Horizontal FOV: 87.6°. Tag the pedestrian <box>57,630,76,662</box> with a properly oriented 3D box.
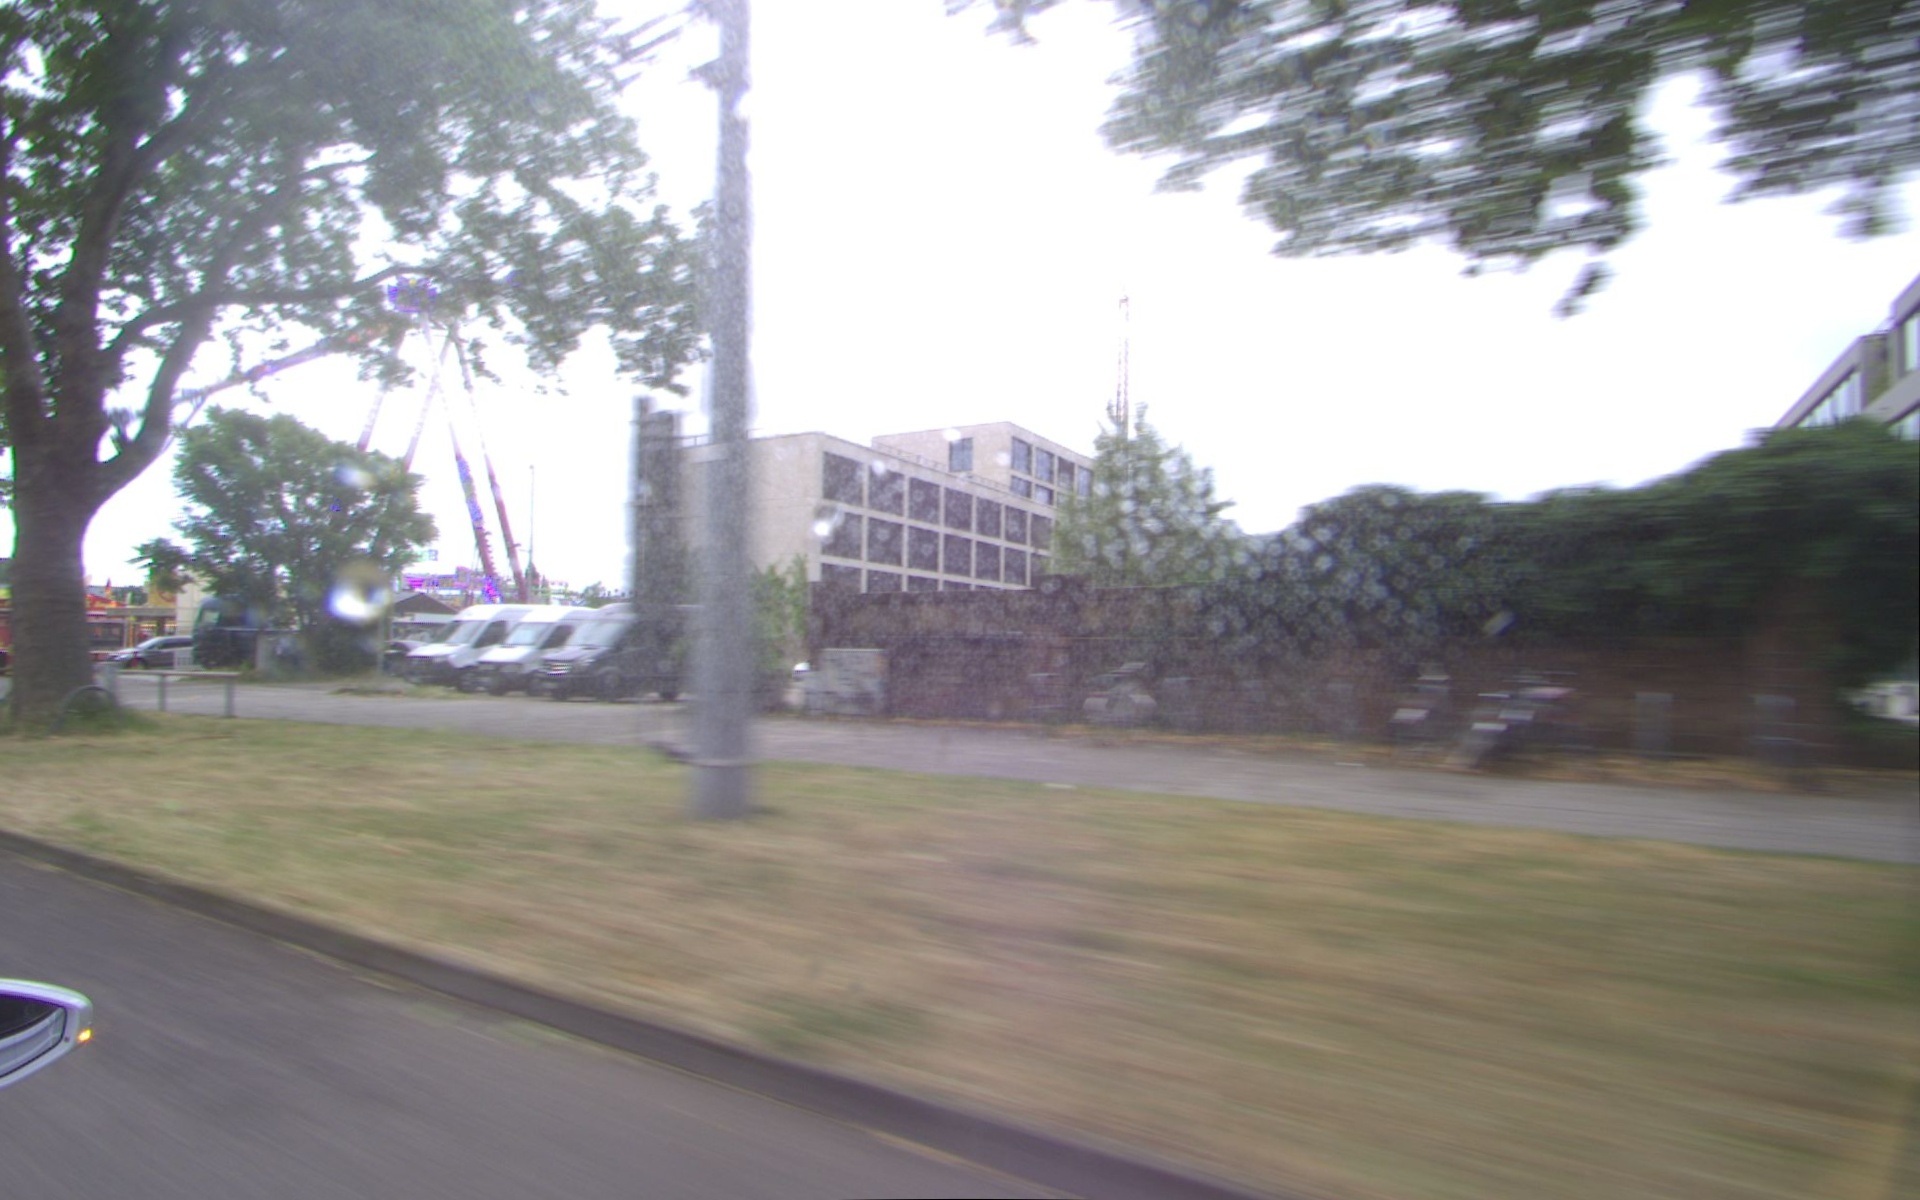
[{"bbox_3d":[-48.166,2.460,53.977,0.485,1.708,0.523,0,-2,15],"label":"pedestrian"}]

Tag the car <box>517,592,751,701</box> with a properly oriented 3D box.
[{"bbox_3d":[-8.453,1.354,26.647,2.140,2.552,5.780,0,-5,33],"label":"car"}]

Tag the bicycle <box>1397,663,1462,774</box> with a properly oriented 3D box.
[{"bbox_3d":[5.461,1.313,11.600,0.541,1.108,1.973,-1,-2,29],"label":"bicycle"}]

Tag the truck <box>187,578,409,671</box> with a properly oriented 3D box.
[{"bbox_3d":[-30.142,1.251,46.070,2.561,3.869,8.187,-1,-3,29],"label":"truck"}]

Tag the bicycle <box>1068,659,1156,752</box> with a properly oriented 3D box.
[{"bbox_3d":[2.080,1.377,13.511,0.541,1.105,1.920,-1,-2,29],"label":"bicycle"}]

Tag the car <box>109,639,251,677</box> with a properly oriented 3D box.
[{"bbox_3d":[-34.579,2.579,44.540,1.970,1.595,4.571,-1,-3,29],"label":"car"}]

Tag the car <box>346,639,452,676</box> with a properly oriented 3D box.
[{"bbox_3d":[-22.578,2.296,40.270,3.939,1.365,1.886,-1,-5,29],"label":"car"}]

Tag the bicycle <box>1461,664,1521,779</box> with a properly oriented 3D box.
[{"bbox_3d":[5.968,1.300,11.221,0.541,1.111,1.899,-1,-2,29],"label":"bicycle"}]

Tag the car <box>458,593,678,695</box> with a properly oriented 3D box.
[{"bbox_3d":[-10.968,1.372,28.614,2.010,2.565,5.785,-1,-5,30],"label":"car"}]

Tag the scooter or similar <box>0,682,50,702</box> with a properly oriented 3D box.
[{"bbox_3d":[-20.580,1.988,21.634,1.165,0.353,1.322,1,-2,-35],"label":"scooter or similar"}]

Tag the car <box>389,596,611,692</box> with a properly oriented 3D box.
[{"bbox_3d":[-13.723,1.373,30.390,2.068,2.587,6.021,-1,-3,29],"label":"car"}]

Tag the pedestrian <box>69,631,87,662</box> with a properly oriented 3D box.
[{"bbox_3d":[-48.324,2.543,54.848,0.485,1.708,0.523,0,-2,15],"label":"pedestrian"}]

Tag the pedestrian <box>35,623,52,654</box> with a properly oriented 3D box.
[{"bbox_3d":[-50.936,2.138,55.646,0.515,1.708,0.492,-1,-2,28],"label":"pedestrian"}]

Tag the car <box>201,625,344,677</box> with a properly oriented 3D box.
[{"bbox_3d":[-28.876,2.098,42.199,1.970,2.039,4.570,0,-2,29],"label":"car"}]

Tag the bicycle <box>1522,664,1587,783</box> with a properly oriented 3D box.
[{"bbox_3d":[6.444,1.286,10.903,0.541,1.119,1.888,-1,-2,29],"label":"bicycle"}]

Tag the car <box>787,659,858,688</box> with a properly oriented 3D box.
[{"bbox_3d":[-7.482,3.996,54.788,1.862,1.471,3.987,-1,-3,28],"label":"car"}]
